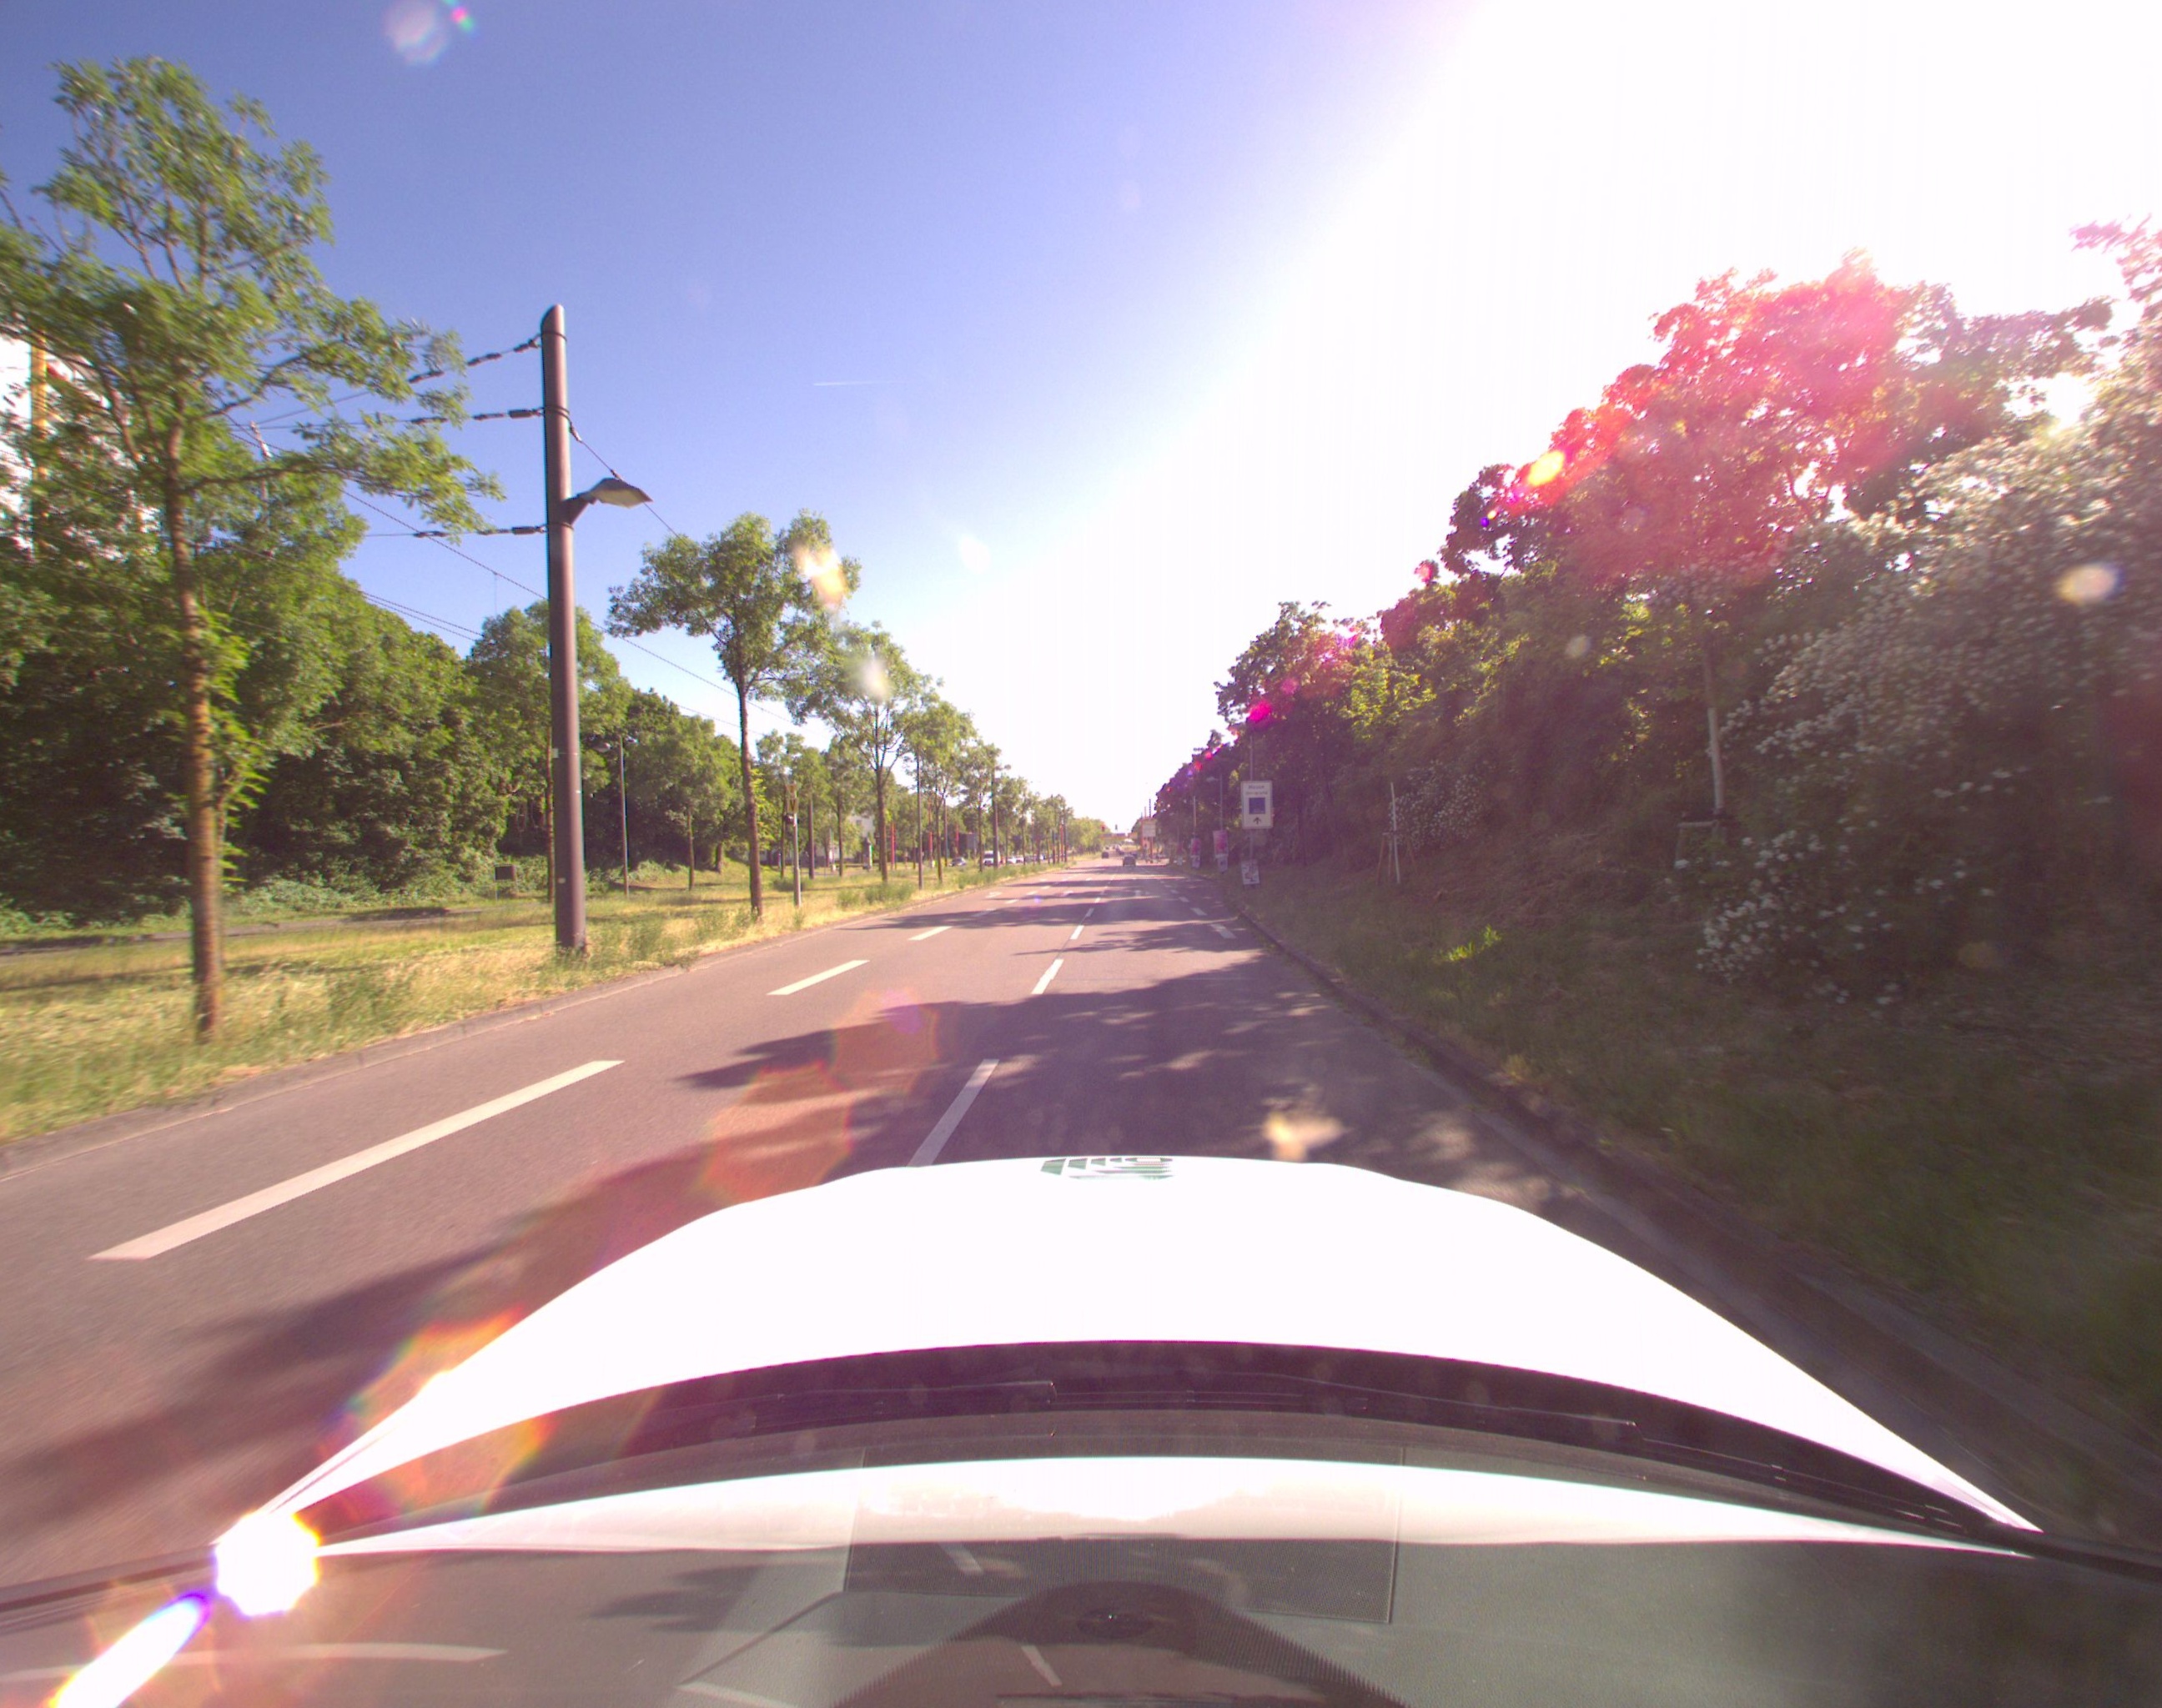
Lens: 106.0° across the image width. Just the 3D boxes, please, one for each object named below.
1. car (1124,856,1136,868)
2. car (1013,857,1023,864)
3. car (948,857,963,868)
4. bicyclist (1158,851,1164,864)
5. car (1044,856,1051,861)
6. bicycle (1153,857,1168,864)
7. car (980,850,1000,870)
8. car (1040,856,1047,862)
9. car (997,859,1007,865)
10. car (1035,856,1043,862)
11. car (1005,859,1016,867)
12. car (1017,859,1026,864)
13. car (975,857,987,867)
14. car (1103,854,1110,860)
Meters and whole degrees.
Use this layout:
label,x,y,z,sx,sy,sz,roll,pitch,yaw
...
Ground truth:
label,x,y,z,sx,sy,sz,roll,pitch,yaw
car,6.650,1.055,110.399,1.627,1.498,4.238,-1,0,3
car,-13.243,1.314,171.403,1.625,1.445,4.192,-1,0,1
car,-19.174,1.313,124.728,1.625,1.680,4.192,-1,0,1
bicyclist,12.838,0.568,130.736,1.005,2.007,0.813,-1,0,2
car,-9.667,1.338,233.050,1.625,1.445,4.192,-1,0,1
bicycle,12.760,1.015,130.735,2.405,1.109,0.813,-1,0,2
car,-15.034,0.947,134.845,2.457,3.240,6.135,-1,-1,1
car,-10.033,1.273,219.616,1.625,1.445,4.192,-1,0,1
car,-16.360,1.614,169.625,1.625,1.288,4.099,-1,0,1
car,-10.904,1.228,210.887,1.625,1.445,4.192,-1,0,1
car,-13.933,1.788,161.648,1.625,1.680,4.192,-1,0,1
car,-13.121,1.591,180.576,1.625,1.111,4.192,-1,0,1
car,-18.524,1.463,151.337,1.625,1.680,4.192,-1,0,1
car,6.383,0.678,206.137,1.627,1.498,4.238,-1,0,3
